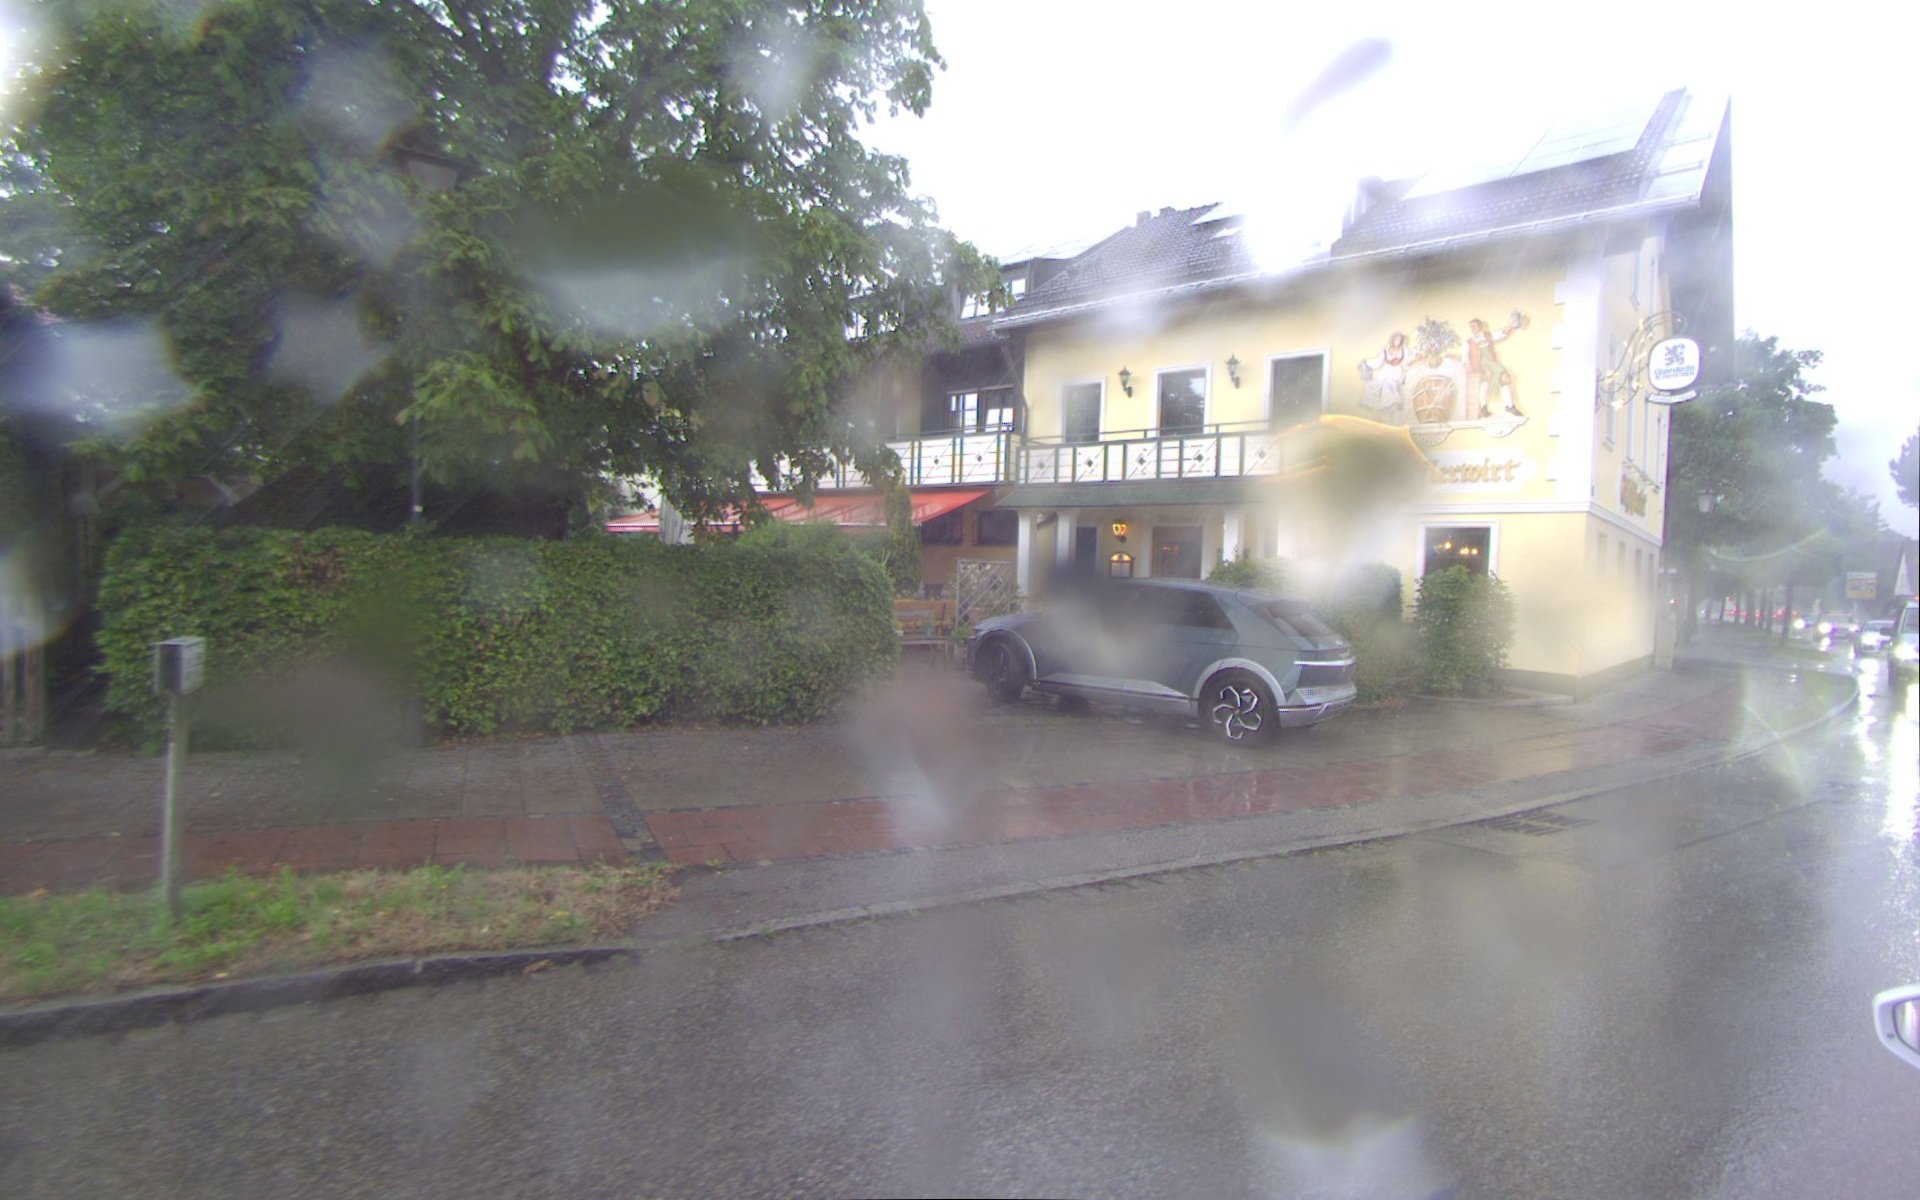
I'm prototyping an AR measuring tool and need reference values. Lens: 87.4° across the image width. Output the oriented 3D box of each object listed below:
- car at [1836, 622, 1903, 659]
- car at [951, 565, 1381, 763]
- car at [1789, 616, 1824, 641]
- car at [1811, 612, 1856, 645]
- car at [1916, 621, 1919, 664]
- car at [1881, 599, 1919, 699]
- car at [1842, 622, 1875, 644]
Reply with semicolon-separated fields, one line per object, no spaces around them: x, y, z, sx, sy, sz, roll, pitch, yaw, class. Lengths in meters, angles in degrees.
37.441;1.637;41.451;1.840;1.377;4.462;0;0;40;car
2.204;0.530;11.507;4.420;1.589;1.831;6;6;38;car
62.179;2.106;73.759;1.841;1.781;4.461;-2;-2;41;car
50.261;1.636;57.828;1.841;1.781;4.461;-2;-2;41;car
44.707;2.023;45.102;2.143;1.925;4.991;3;2;39;car
21.125;1.058;21.588;1.831;1.997;4.673;0;-1;44;car
90.442;3.259;101.138;2.143;1.925;4.991;3;2;39;car
